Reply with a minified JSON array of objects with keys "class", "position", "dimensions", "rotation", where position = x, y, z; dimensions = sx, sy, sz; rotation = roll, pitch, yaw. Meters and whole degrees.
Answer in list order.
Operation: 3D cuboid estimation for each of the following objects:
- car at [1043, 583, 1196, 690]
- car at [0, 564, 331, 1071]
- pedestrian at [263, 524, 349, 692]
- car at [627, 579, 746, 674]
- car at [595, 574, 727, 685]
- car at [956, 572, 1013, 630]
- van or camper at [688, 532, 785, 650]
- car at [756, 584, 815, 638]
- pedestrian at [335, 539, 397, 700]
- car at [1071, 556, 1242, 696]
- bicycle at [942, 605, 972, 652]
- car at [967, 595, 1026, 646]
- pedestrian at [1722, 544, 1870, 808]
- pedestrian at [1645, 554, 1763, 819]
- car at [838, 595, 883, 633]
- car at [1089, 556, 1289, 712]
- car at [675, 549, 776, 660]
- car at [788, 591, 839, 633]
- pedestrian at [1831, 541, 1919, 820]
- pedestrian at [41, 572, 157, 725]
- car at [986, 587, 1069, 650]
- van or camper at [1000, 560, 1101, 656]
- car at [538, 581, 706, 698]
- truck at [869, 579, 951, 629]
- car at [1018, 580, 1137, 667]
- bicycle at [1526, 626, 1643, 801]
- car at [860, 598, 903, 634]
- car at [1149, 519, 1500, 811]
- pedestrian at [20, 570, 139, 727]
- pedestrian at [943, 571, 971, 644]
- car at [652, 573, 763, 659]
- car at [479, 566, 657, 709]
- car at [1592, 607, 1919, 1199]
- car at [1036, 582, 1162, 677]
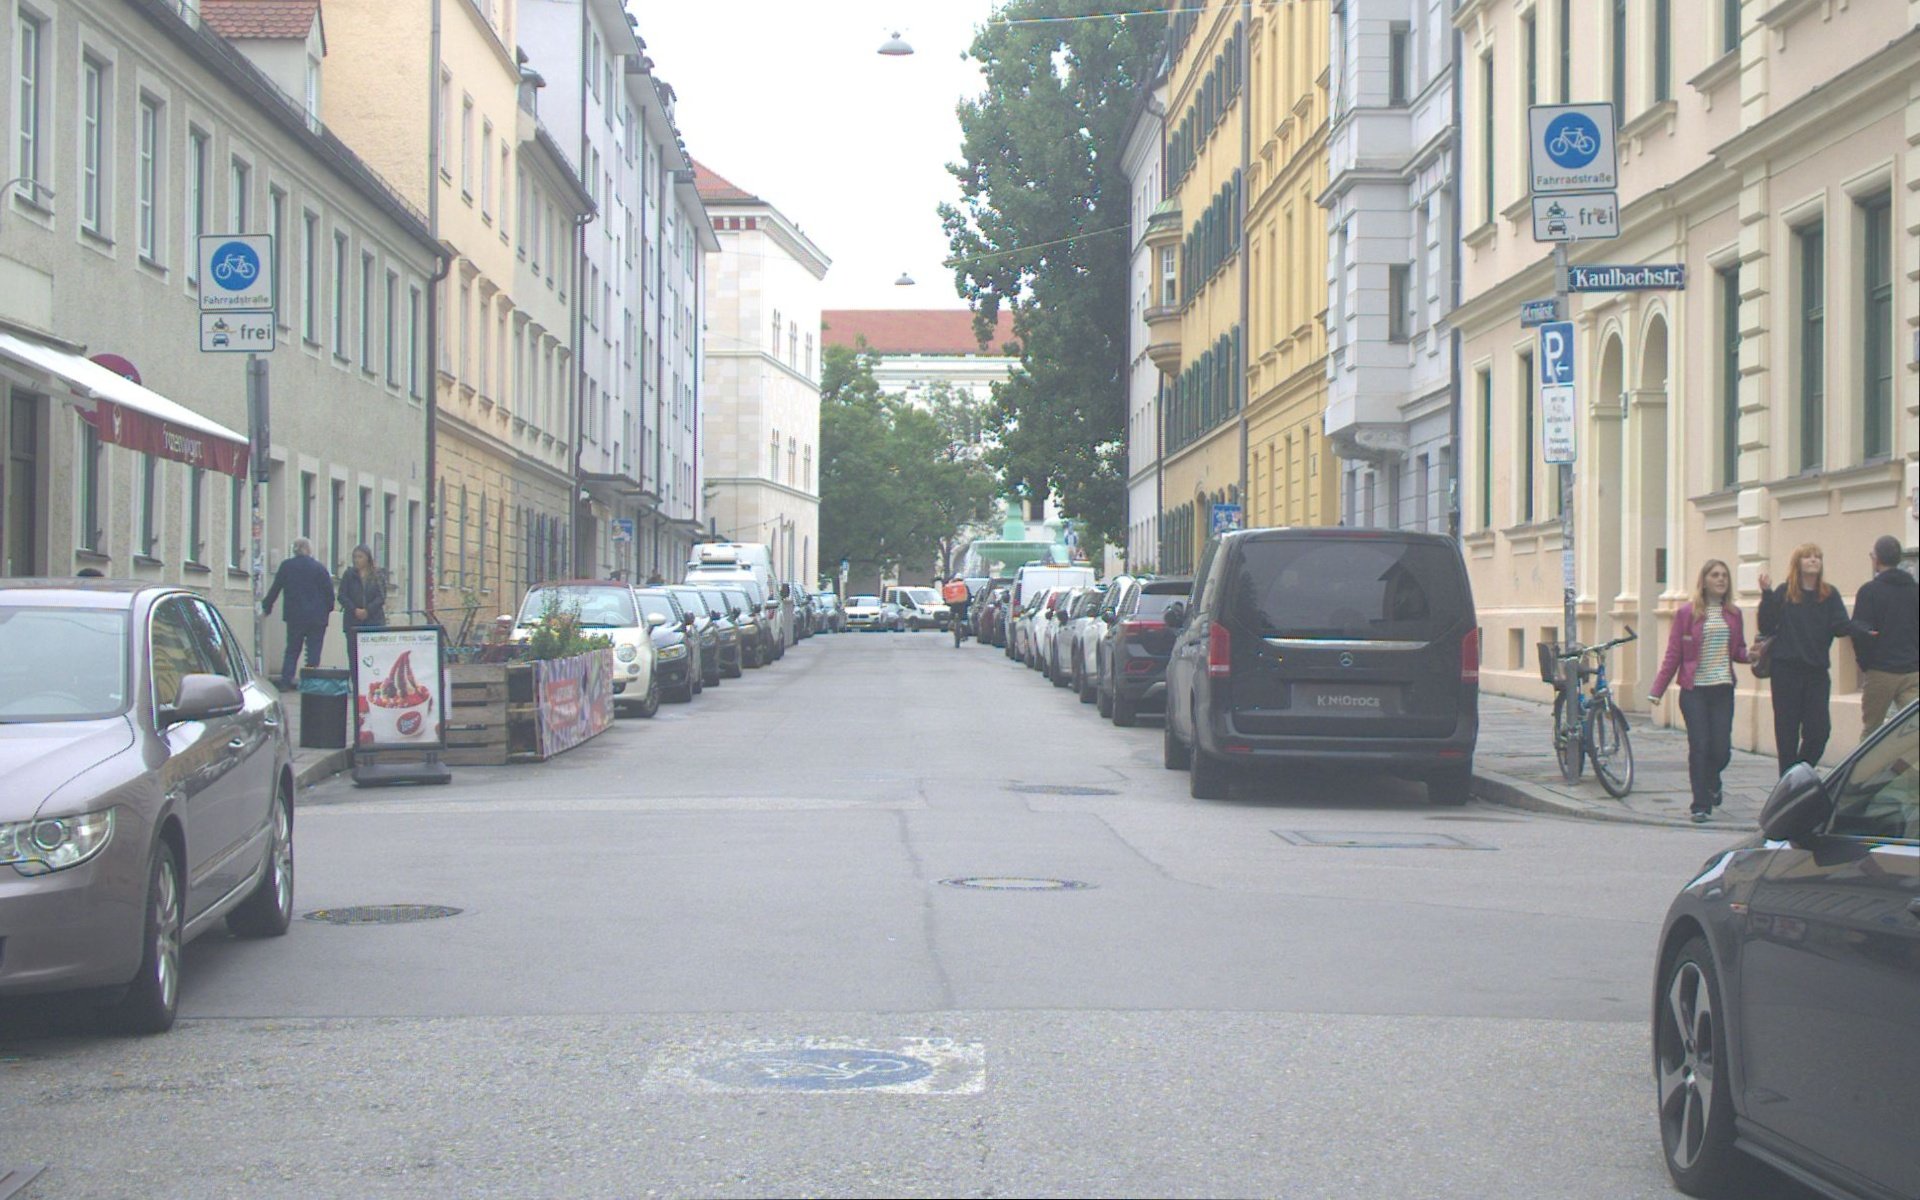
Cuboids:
[{"class":"car","position":[2.192,0.496,48.297],"dimensions":[1.708,1.400,4.208],"rotation":[1,0,-3]},{"class":"car","position":[-3.422,0.619,12.408],"dimensions":[1.679,1.466,4.951],"rotation":[0,0,-4]},{"class":"pedestrian","position":[-7.467,0.096,39.293],"dimensions":[0.822,1.891,0.827],"rotation":[1,-1,-2]},{"class":"car","position":[-4.335,0.386,54.527],"dimensions":[1.816,1.437,4.132],"rotation":[0,0,-5]},{"class":"car","position":[-4.252,0.410,49.292],"dimensions":[1.754,1.491,4.201],"rotation":[1,0,-4]},{"class":"car","position":[0.802,0.037,116.771],"dimensions":[1.852,1.913,4.769],"rotation":[1,0,0]},{"class":"van or camper","position":[-4.510,-0.168,69.937],"dimensions":[1.754,2.273,5.273],"rotation":[1,0,-2]},{"class":"car","position":[-5.241,0.336,103.600],"dimensions":[1.706,1.604,3.863],"rotation":[0,0,-2]},{"class":"pedestrian","position":[-6.647,0.221,38.488],"dimensions":[0.528,1.776,0.877],"rotation":[1,-1,-1]},{"class":"car","position":[2.340,0.306,41.861],"dimensions":[1.743,1.578,4.466],"rotation":[1,0,-1]},{"class":"bicycle","position":[-0.076,0.674,81.432],"dimensions":[0.675,1.091,1.760],"rotation":[1,-1,0]},{"class":"car","position":[1.159,0.660,110.891],"dimensions":[1.811,1.609,4.156],"rotation":[1,0,0]},{"class":"pedestrian","position":[5.241,0.474,21.582],"dimensions":[0.658,1.615,0.979],"rotation":[1,-1,-2]},{"class":"pedestrian","position":[4.656,0.538,21.557],"dimensions":[0.472,1.619,1.069],"rotation":[1,-1,-2]},{"class":"car","position":[-4.206,0.591,146.070],"dimensions":[1.706,1.576,3.862],"rotation":[0,0,2]},{"class":"car","position":[2.360,0.346,36.347],"dimensions":[1.754,1.516,4.274],"rotation":[1,0,-1]},{"class":"car","position":[-4.423,0.084,64.426],"dimensions":[1.754,1.988,4.626],"rotation":[1,0,-5]},{"class":"car","position":[-5.584,0.458,131.473],"dimensions":[1.706,1.604,3.862],"rotation":[0,0,1]},{"class":"pedestrian","position":[6.000,0.508,21.690],"dimensions":[0.719,1.711,1.004],"rotation":[1,-1,-2]},{"class":"pedestrian","position":[-7.348,0.418,29.359],"dimensions":[0.803,1.286,0.693],"rotation":[1,-1,-1]},{"class":"car","position":[1.635,0.456,84.699],"dimensions":[1.811,1.460,4.247],"rotation":[2,0,-1]},{"class":"van or camper","position":[1.804,0.160,70.182],"dimensions":[1.833,1.865,5.079],"rotation":[1,0,-1]},{"class":"car","position":[-4.224,0.460,43.544],"dimensions":[1.798,1.335,4.686],"rotation":[1,1,-2]},{"class":"truck","position":[-2.424,0.214,163.343],"dimensions":[2.120,2.240,6.187],"rotation":[1,-1,-18]},{"class":"car","position":[2.030,0.402,60.405],"dimensions":[1.708,1.449,4.097],"rotation":[1,0,-3]},{"class":"bicycle","position":[4.231,0.749,23.377],"dimensions":[0.465,1.049,1.729],"rotation":[-1,2,0]},{"class":"car","position":[-3.458,0.723,152.264],"dimensions":[1.706,1.576,3.862],"rotation":[0,0,2]},{"class":"car","position":[2.521,0.414,25.063],"dimensions":[1.997,1.858,5.253],"rotation":[1,0,0]},{"class":"pedestrian","position":[-7.327,0.403,28.635],"dimensions":[0.803,1.285,0.693],"rotation":[1,-1,-1]},{"class":"pedestrian","position":[-0.076,0.189,81.451],"dimensions":[0.642,1.708,0.843],"rotation":[1,-1,0]},{"class":"car","position":[-4.337,0.266,59.458],"dimensions":[1.754,1.404,4.103],"rotation":[1,0,-2]},{"class":"car","position":[-4.310,0.393,38.235],"dimensions":[1.754,1.470,3.714],"rotation":[2,0,-4]},{"class":"car","position":[2.655,0.801,7.012],"dimensions":[1.675,1.420,4.204],"rotation":[3,1,-3]},{"class":"car","position":[2.138,0.450,54.043],"dimensions":[1.708,1.404,4.814],"rotation":[1,0,-1]}]
